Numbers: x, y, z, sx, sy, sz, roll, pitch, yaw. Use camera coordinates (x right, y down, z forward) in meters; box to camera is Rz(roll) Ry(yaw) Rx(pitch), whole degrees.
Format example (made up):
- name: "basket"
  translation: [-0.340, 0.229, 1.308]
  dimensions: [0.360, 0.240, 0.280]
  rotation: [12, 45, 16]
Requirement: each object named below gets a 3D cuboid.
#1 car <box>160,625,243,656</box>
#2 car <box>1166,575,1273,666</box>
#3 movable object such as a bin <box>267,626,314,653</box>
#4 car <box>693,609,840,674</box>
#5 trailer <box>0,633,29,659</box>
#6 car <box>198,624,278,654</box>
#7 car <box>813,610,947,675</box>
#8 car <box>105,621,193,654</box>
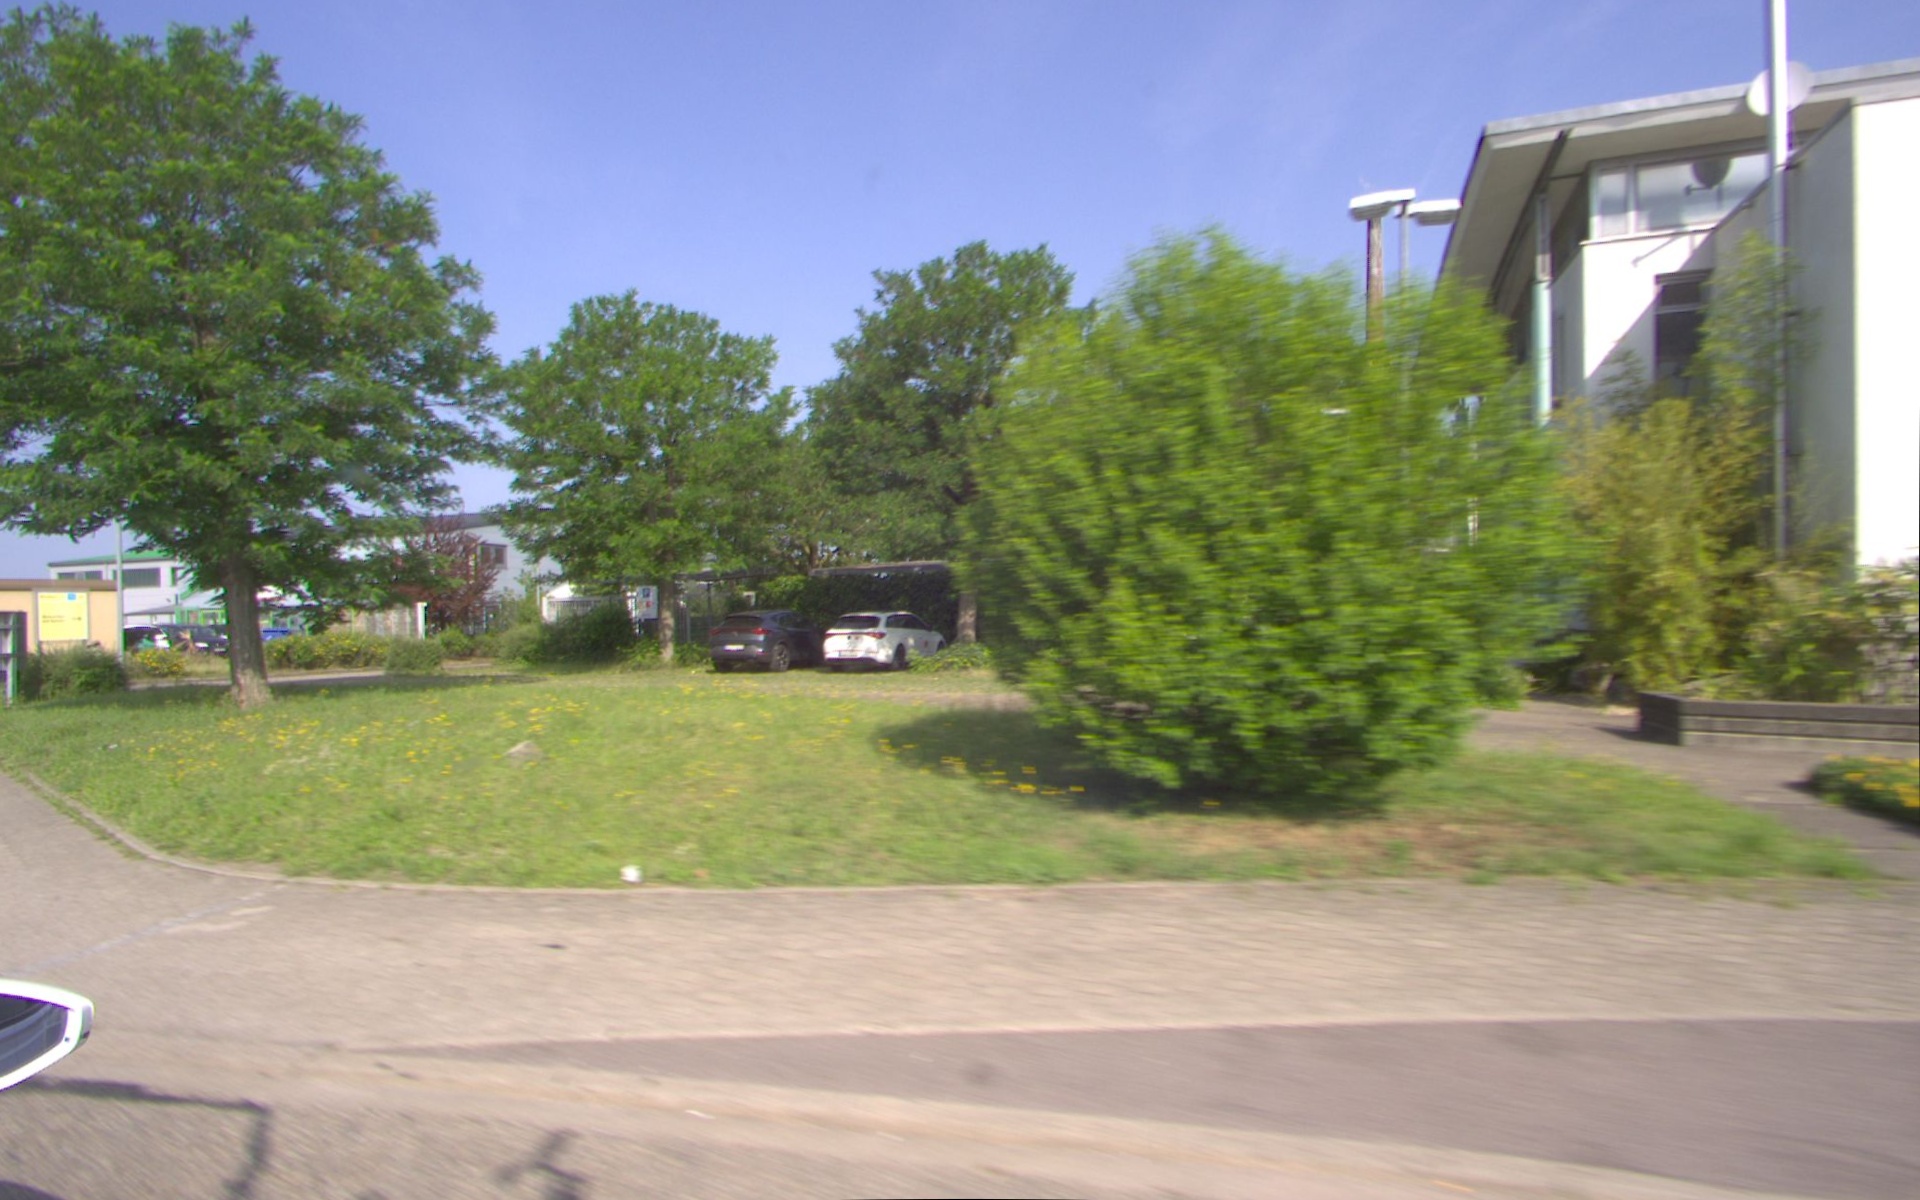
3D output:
- name: "car"
  translation: [-34.796, 1.838, 45.946]
  dimensions: [3.132, 1.363, 1.582]
  rotation: [-1, 0, 19]
- name: "car"
  translation: [5.696, 0.432, 21.674]
  dimensions: [1.723, 1.773, 3.903]
  rotation: [-1, -1, 22]
- name: "movable object such as a bin"
  translation: [-33.980, 2.002, 50.804]
  dimensions: [1.973, 1.363, 0.998]
  rotation: [-1, 0, 19]
- name: "car"
  translation: [-4.747, 0.981, 25.195]
  dimensions: [1.769, 1.483, 4.032]
  rotation: [-1, 0, 21]
- name: "trailer"
  translation: [-46.961, 2.220, 48.420]
  dimensions: [2.922, 1.264, 1.494]
  rotation: [-1, -2, 15]
- name: "car"
  translation: [-34.556, 1.860, 47.942]
  dimensions: [3.132, 1.363, 1.582]
  rotation: [-1, 0, 19]
- name: "car"
  translation: [-1.850, 0.980, 24.558]
  dimensions: [1.712, 1.424, 4.032]
  rotation: [-1, 0, 21]
- name: "car"
  translation: [-35.371, 1.640, 43.696]
  dimensions: [3.132, 1.363, 1.582]
  rotation: [-1, 0, 19]
